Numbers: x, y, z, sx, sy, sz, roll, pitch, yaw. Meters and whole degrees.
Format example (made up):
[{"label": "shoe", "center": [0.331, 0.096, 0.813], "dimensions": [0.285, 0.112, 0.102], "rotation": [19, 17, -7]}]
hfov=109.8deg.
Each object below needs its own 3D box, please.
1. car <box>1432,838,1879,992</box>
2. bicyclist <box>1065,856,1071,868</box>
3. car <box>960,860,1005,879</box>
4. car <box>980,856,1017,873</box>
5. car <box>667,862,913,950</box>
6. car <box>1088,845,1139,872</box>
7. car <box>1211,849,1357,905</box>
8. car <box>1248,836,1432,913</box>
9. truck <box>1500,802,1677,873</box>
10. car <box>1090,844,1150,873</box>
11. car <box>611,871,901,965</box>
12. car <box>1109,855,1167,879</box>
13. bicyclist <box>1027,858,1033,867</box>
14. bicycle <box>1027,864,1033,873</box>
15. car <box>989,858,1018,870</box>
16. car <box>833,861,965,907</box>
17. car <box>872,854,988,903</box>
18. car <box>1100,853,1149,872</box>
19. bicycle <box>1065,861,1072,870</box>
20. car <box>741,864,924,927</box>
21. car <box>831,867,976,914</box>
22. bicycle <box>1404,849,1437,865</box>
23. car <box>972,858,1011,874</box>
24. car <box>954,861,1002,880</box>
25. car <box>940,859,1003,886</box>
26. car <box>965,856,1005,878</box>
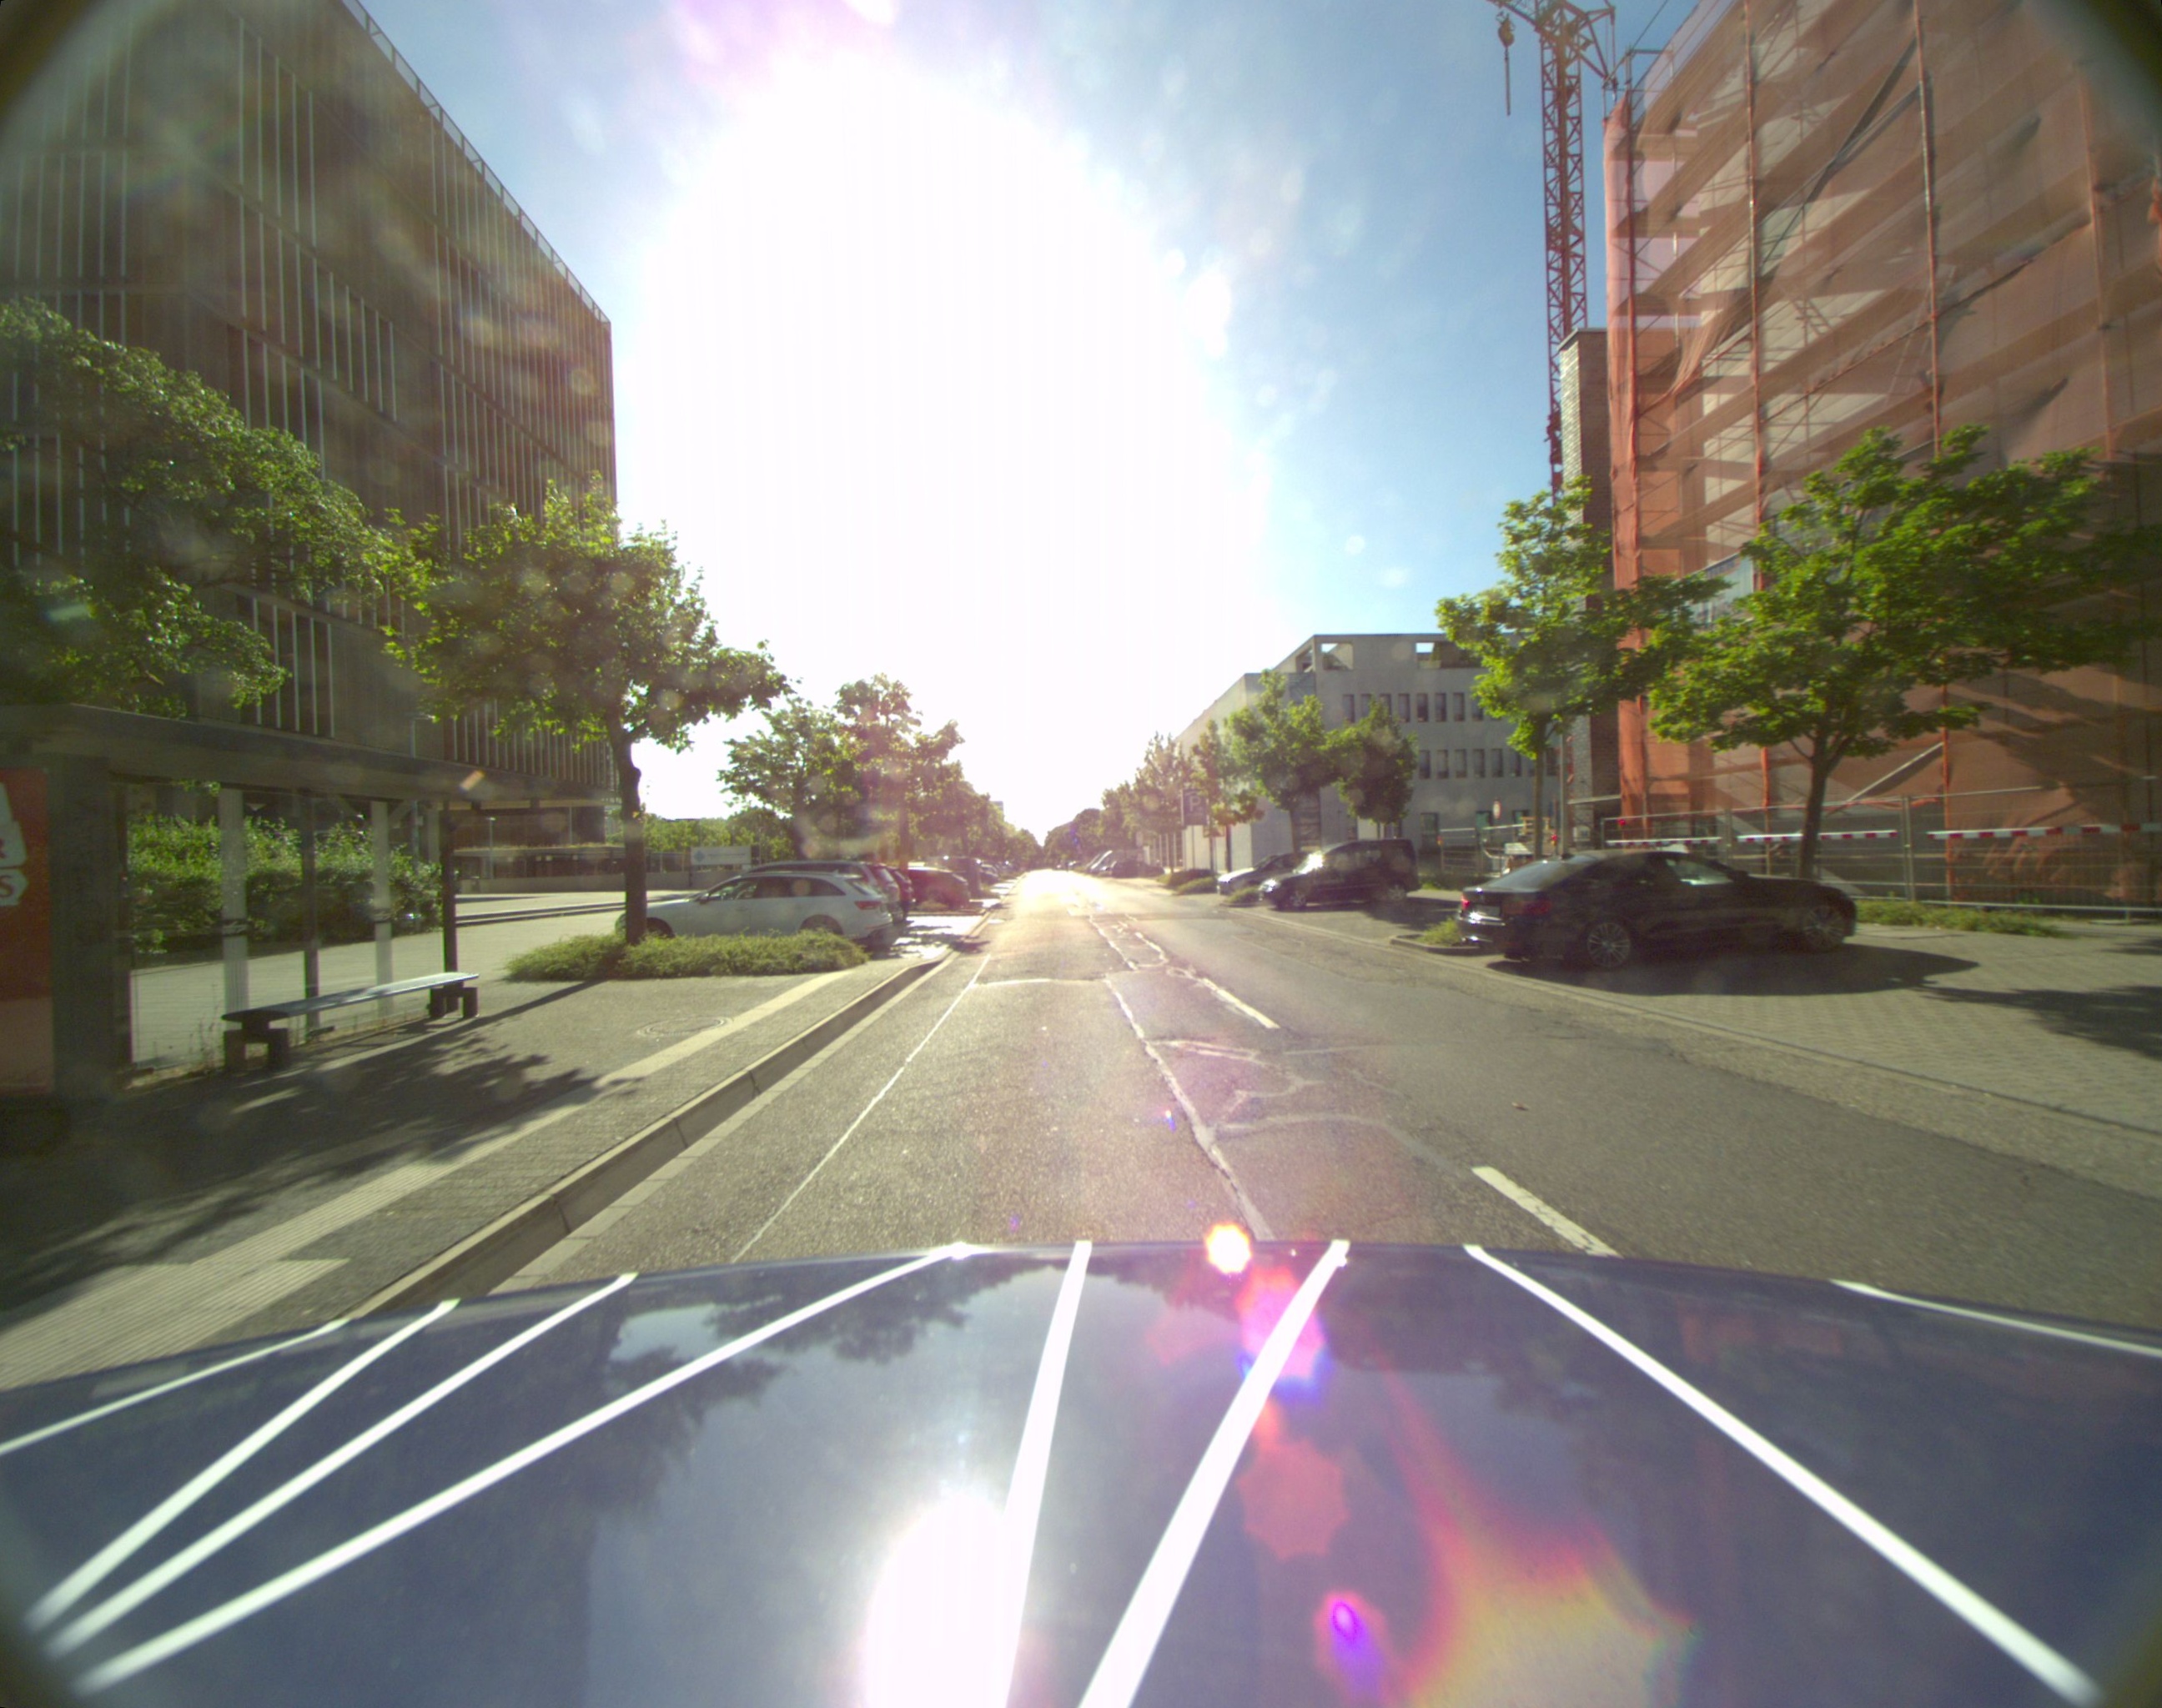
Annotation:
[{"label": "car", "center": [7.208, 0.692, 9.805], "dimensions": [4.399, 1.423, 1.976], "rotation": [-4, 0, -7]}, {"label": "bicyclist", "center": [-1.775, 1.174, 107.208], "dimensions": [0.792, 1.696, 1.104], "rotation": [-1, 0, -2]}, {"label": "car", "center": [-8.556, 1.326, 66.231], "dimensions": [3.718, 1.557, 1.675], "rotation": [-1, 0, -4]}, {"label": "car", "center": [-8.470, 1.048, 78.401], "dimensions": [3.718, 1.662, 1.675], "rotation": [-1, 0, -4]}, {"label": "car", "center": [-5.997, 1.037, 16.159], "dimensions": [4.414, 1.631, 2.074], "rotation": [-1, 0, -3]}, {"label": "car", "center": [3.667, 0.514, 86.878], "dimensions": [5.584, 2.622, 2.010], "rotation": [-4, 1, -1]}, {"label": "car", "center": [6.779, 0.749, 25.664], "dimensions": [4.397, 1.505, 1.693], "rotation": [-4, 0, -2]}, {"label": "car", "center": [7.124, 0.543, 21.221], "dimensions": [4.397, 1.735, 1.846], "rotation": [-4, 0, -2]}, {"label": "truck", "center": [20.947, -0.644, 31.535], "dimensions": [5.858, 2.715, 2.269], "rotation": [-1, 0, -1]}, {"label": "car", "center": [3.808, 0.453, 74.917], "dimensions": [5.584, 2.468, 2.010], "rotation": [-4, 0, -1]}, {"label": "car", "center": [-5.689, 1.100, 13.769], "dimensions": [4.414, 1.454, 1.895], "rotation": [-1, 0, -3]}, {"label": "car", "center": [4.517, 1.025, 60.435], "dimensions": [4.316, 1.505, 1.718], "rotation": [-4, 0, -4]}, {"label": "bicyclist", "center": [-7.514, 1.280, 112.756], "dimensions": [0.792, 1.215, 1.063], "rotation": [-1, 0, -2]}, {"label": "bicycle", "center": [-7.500, 2.135, 112.787], "dimensions": [0.792, 1.215, 2.262], "rotation": [-1, 0, -2]}, {"label": "car", "center": [-10.116, 1.308, 99.096], "dimensions": [3.718, 1.417, 1.675], "rotation": [-1, 0, -4]}, {"label": "car", "center": [-6.624, 1.074, 28.121], "dimensions": [4.414, 1.548, 2.074], "rotation": [-1, 0, -3]}, {"label": "car", "center": [-6.155, 0.981, 31.419], "dimensions": [4.414, 1.881, 2.074], "rotation": [-1, 0, -3]}, {"label": "car", "center": [4.074, 0.805, 71.581], "dimensions": [4.316, 1.505, 1.693], "rotation": [-4, 0, -4]}, {"label": "bicycle", "center": [-1.768, 1.570, 107.188], "dimensions": [0.792, 1.215, 2.262], "rotation": [-1, 0, -2]}, {"label": "car", "center": [-6.690, 1.101, 20.845], "dimensions": [4.414, 1.527, 1.876], "rotation": [-1, 0, -3]}, {"label": "car", "center": [-5.876, 1.193, 25.599], "dimensions": [4.414, 1.401, 2.074], "rotation": [-1, 0, -3]}, {"label": "bicycle", "center": [26.352, 0.255, 59.012], "dimensions": [2.262, 1.203, 0.717], "rotation": [-1, 0, -8]}, {"label": "car", "center": [-8.932, 1.229, 75.758], "dimensions": [3.718, 1.516, 1.675], "rotation": [-1, 0, -4]}, {"label": "car", "center": [-8.321, 1.353, 61.592], "dimensions": [3.762, 1.417, 1.731], "rotation": [-1, 0, -4]}, {"label": "car", "center": [-7.124, 1.193, 49.580], "dimensions": [3.962, 1.591, 1.675], "rotation": [-1, 0, -5]}, {"label": "car", "center": [-8.690, 1.195, 68.882], "dimensions": [3.392, 1.877, 1.696], "rotation": [-1, 0, -4]}]
